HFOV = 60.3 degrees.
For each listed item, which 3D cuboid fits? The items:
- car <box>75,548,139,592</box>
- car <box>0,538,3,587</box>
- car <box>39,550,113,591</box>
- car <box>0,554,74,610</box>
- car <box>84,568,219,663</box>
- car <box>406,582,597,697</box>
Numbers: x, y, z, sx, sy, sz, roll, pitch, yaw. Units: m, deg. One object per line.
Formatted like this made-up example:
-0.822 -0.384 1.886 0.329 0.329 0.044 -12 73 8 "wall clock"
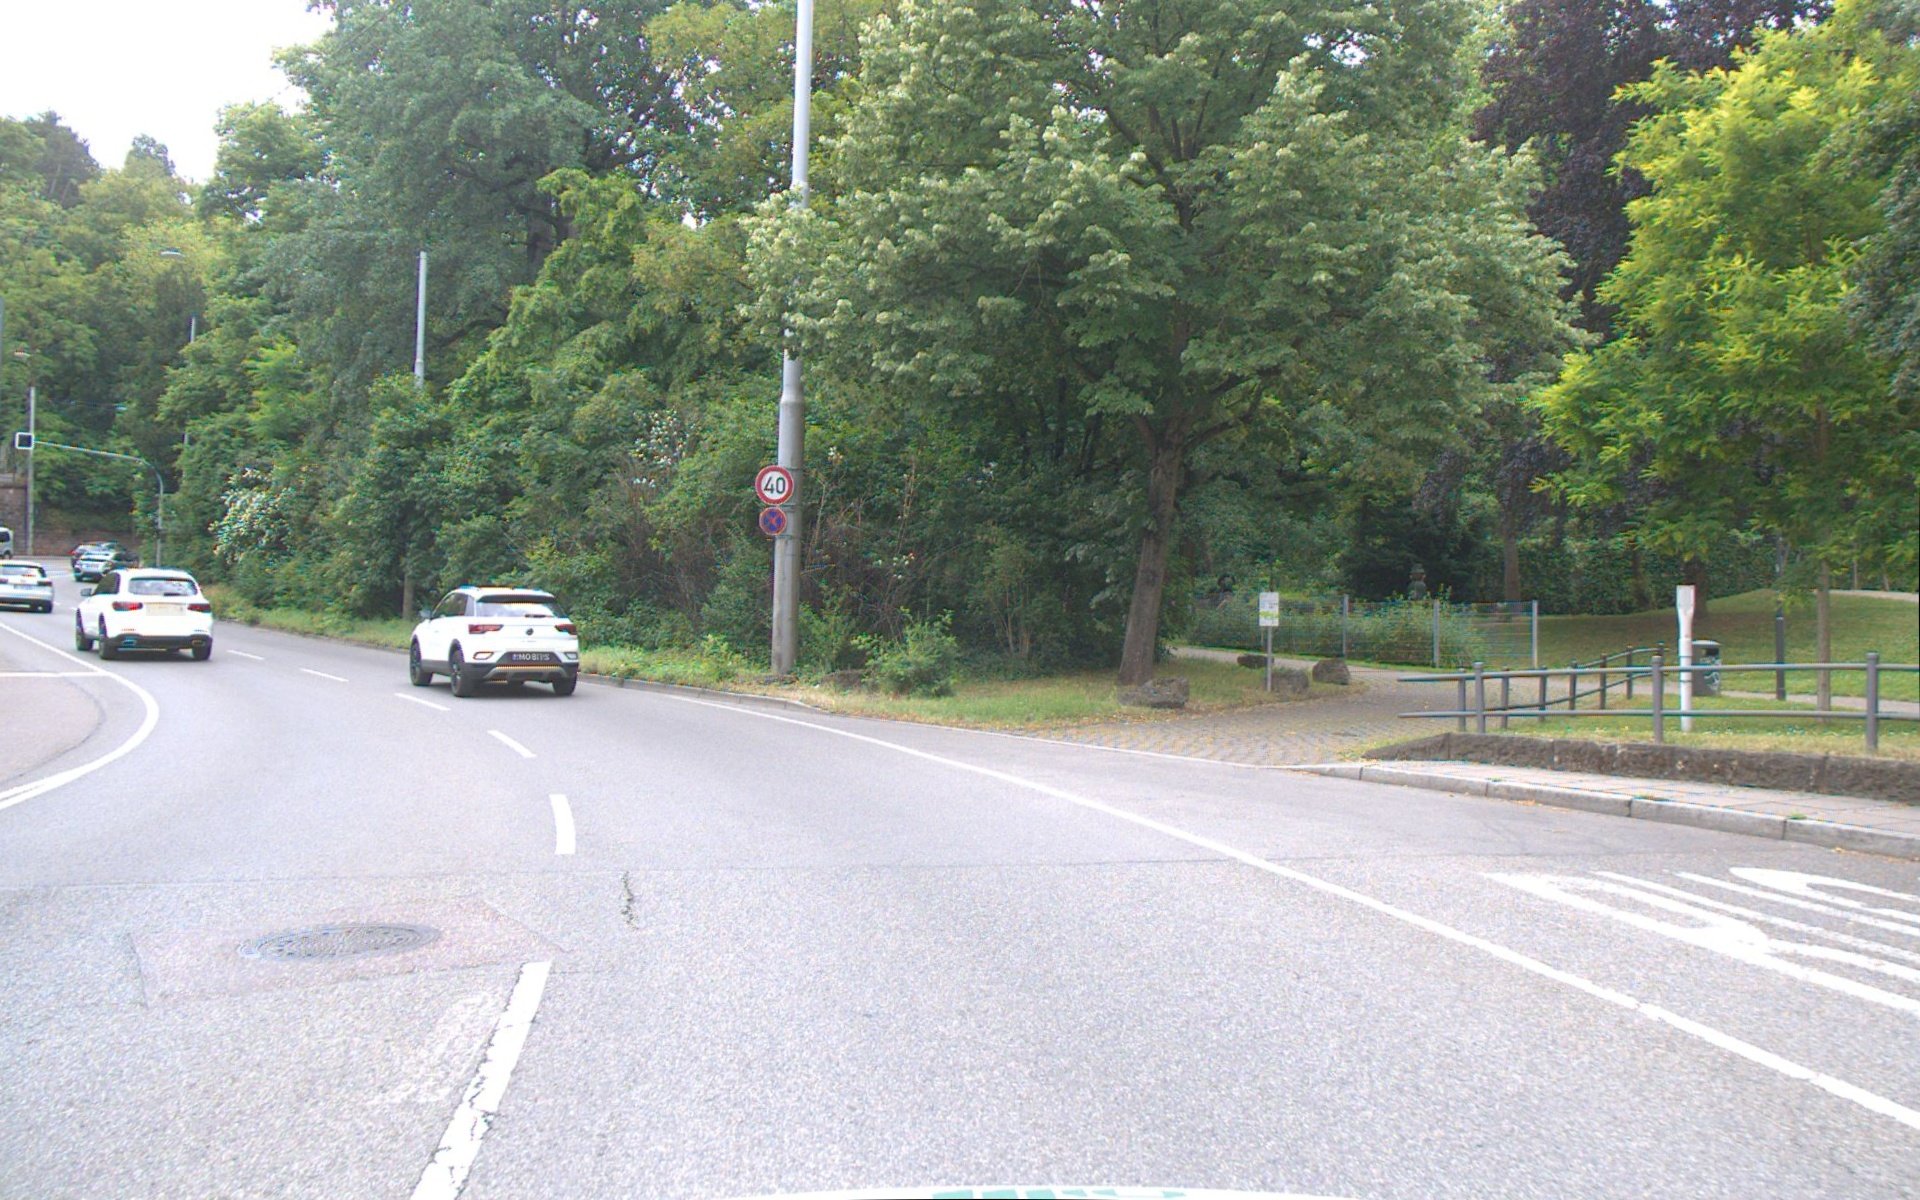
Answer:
-40.507 -1.422 78.601 1.962 2.049 3.981 -1 1 -17 "car"
-40.731 -1.550 67.789 2.161 2.049 3.970 -1 1 -24 "car"
-45.636 -1.525 85.457 1.955 2.049 3.995 0 1 -6 "car"
-28.192 -0.569 49.827 2.227 1.545 4.258 1 1 -34 "car"
-15.563 0.251 31.719 1.859 1.681 4.292 0 1 -33 "car"
-7.063 0.554 25.229 1.846 1.583 3.854 2 0 -31 "car"
